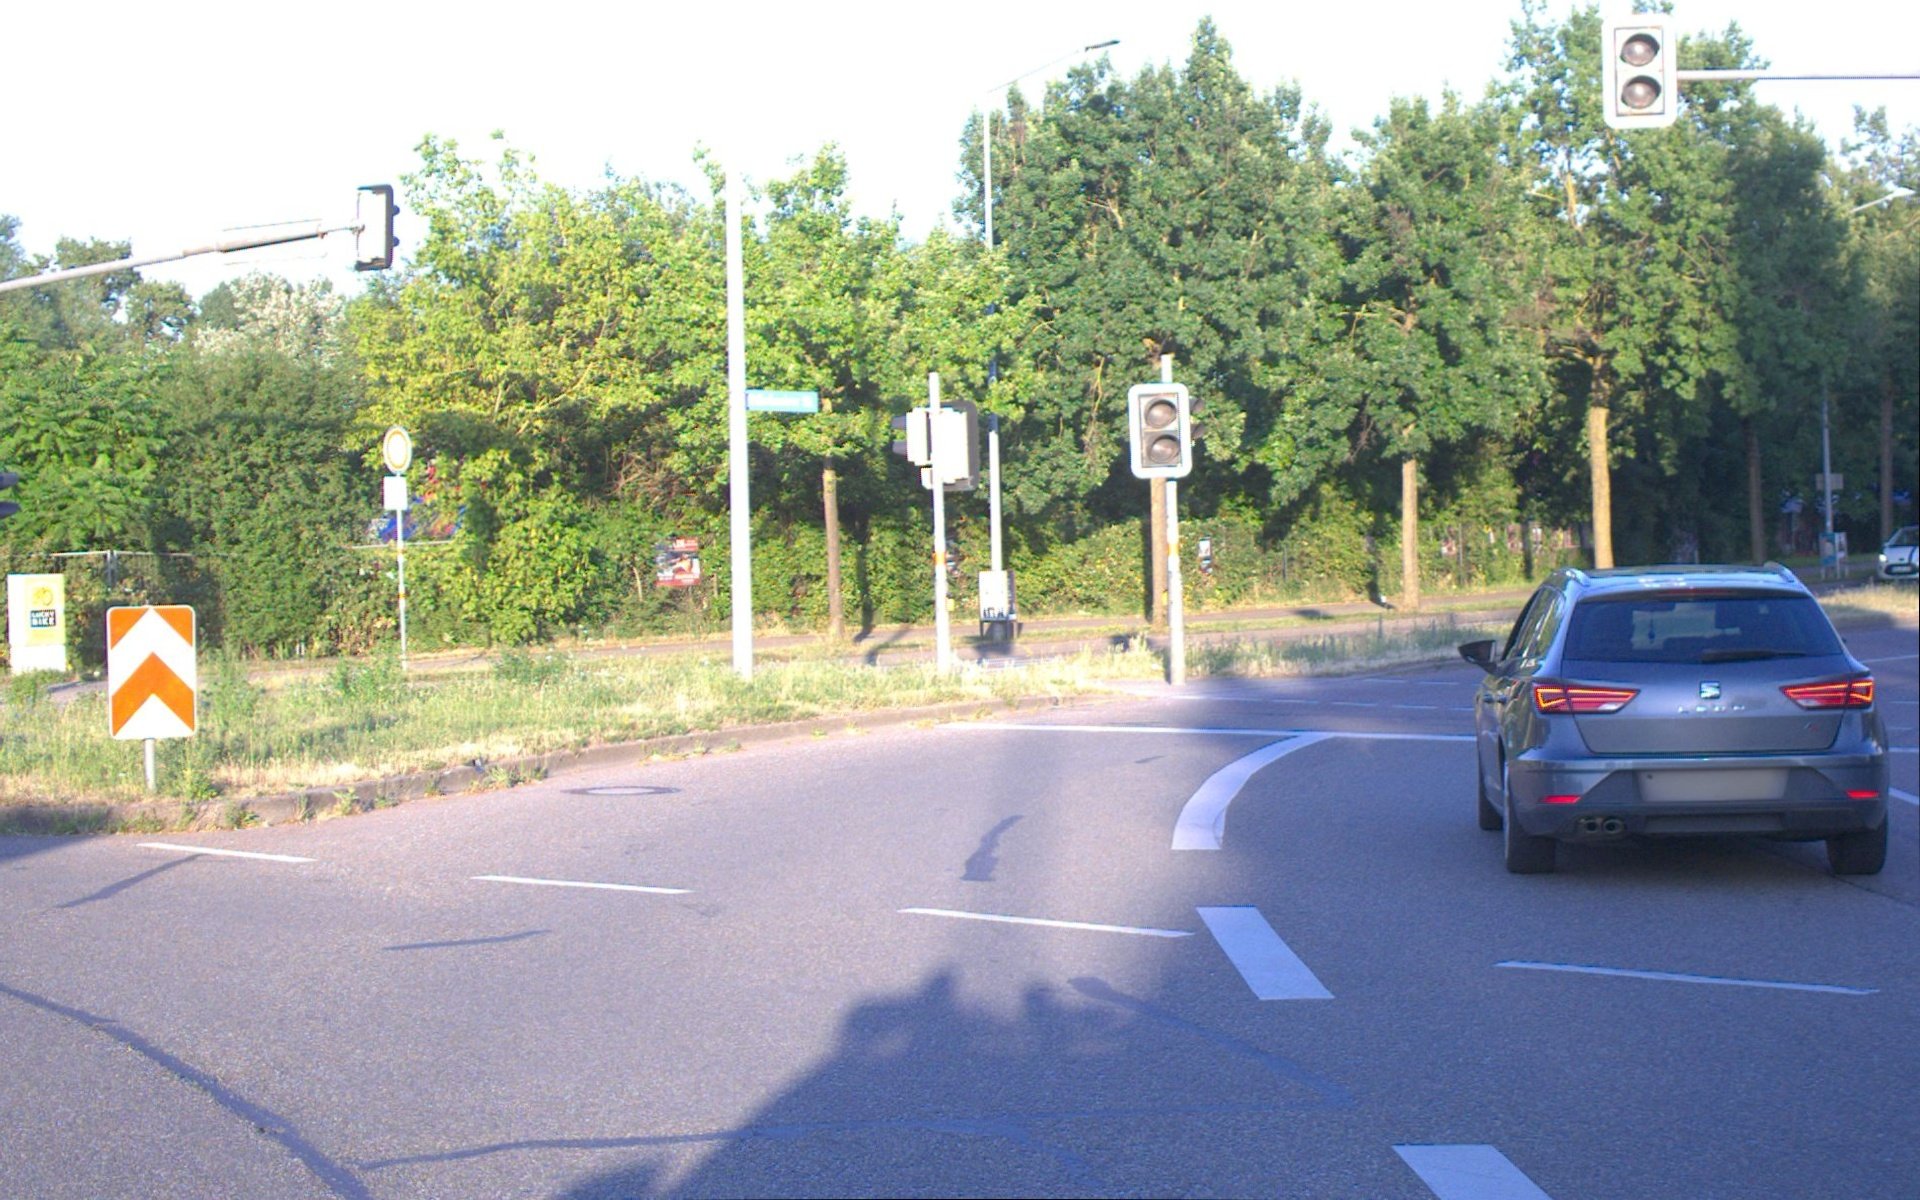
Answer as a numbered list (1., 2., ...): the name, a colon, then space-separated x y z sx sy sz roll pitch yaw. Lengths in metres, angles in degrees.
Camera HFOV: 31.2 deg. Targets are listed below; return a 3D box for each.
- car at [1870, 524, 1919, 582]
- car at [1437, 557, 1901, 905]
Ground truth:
1. car: 24.999 -1.220 89.056 1.552 1.438 3.479 -1 0 37
2. car: 3.350 0.544 16.936 1.746 1.419 4.134 -1 2 5
